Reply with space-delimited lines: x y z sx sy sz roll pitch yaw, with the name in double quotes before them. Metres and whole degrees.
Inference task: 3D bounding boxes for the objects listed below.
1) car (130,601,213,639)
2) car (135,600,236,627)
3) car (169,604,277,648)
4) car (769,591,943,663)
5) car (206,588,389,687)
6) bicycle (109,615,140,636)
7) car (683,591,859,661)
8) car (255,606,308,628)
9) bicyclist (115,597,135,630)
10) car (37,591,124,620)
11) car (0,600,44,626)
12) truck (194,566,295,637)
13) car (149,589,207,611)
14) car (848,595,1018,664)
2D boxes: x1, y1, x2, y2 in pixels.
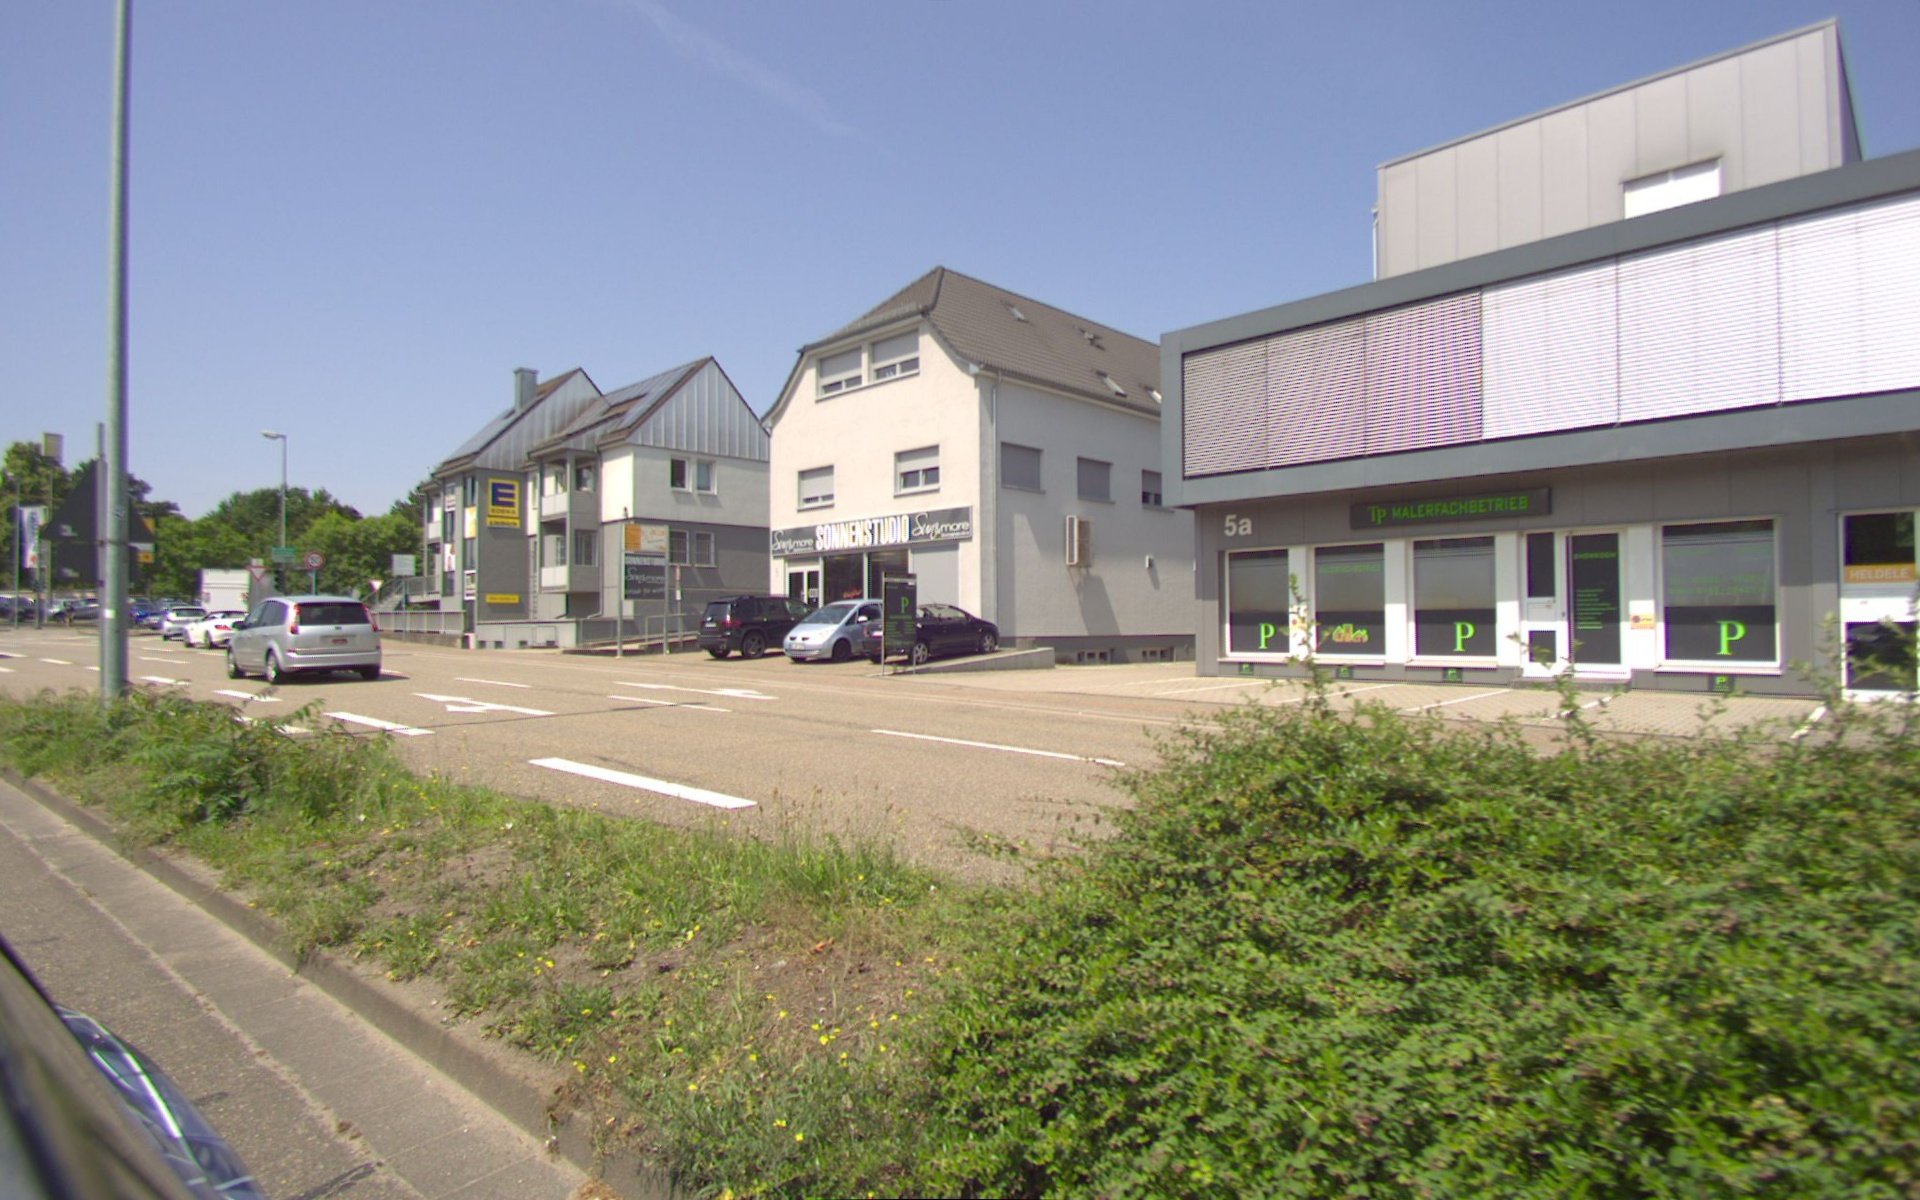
"car" -34.356 0.832 44.083 4.192 1.578 1.879 0 0 38
"car" -48.370 0.806 63.280 1.755 1.622 4.714 0 1 30
"car" -25.136 0.843 34.488 4.348 1.364 1.788 0 1 37
"car" -2.623 0.639 26.461 1.751 1.507 4.560 -1 2 40
"car" -12.759 0.622 19.402 4.337 1.641 1.762 0 2 40
"bicycle" -42.595 1.278 51.585 1.777 1.062 0.419 0 0 22
"car" -5.173 0.659 28.135 1.854 1.639 4.556 -1 2 43
"car" -54.236 1.344 80.874 3.979 1.696 1.852 0 1 27
"bicyclist" -42.441 0.686 51.438 0.815 1.655 0.419 -2 0 22
"car" -61.430 0.390 70.799 4.235 1.916 1.835 2 -1 -28
"car" -65.725 0.887 70.243 3.992 1.737 1.830 1 0 25
"truck" -37.575 -0.055 53.392 2.233 3.443 7.062 -1 2 -18
"car" -56.516 -0.006 73.113 3.979 1.548 1.780 0 1 27
"car" -0.596 0.712 24.784 1.999 1.533 4.014 -1 -2 41
